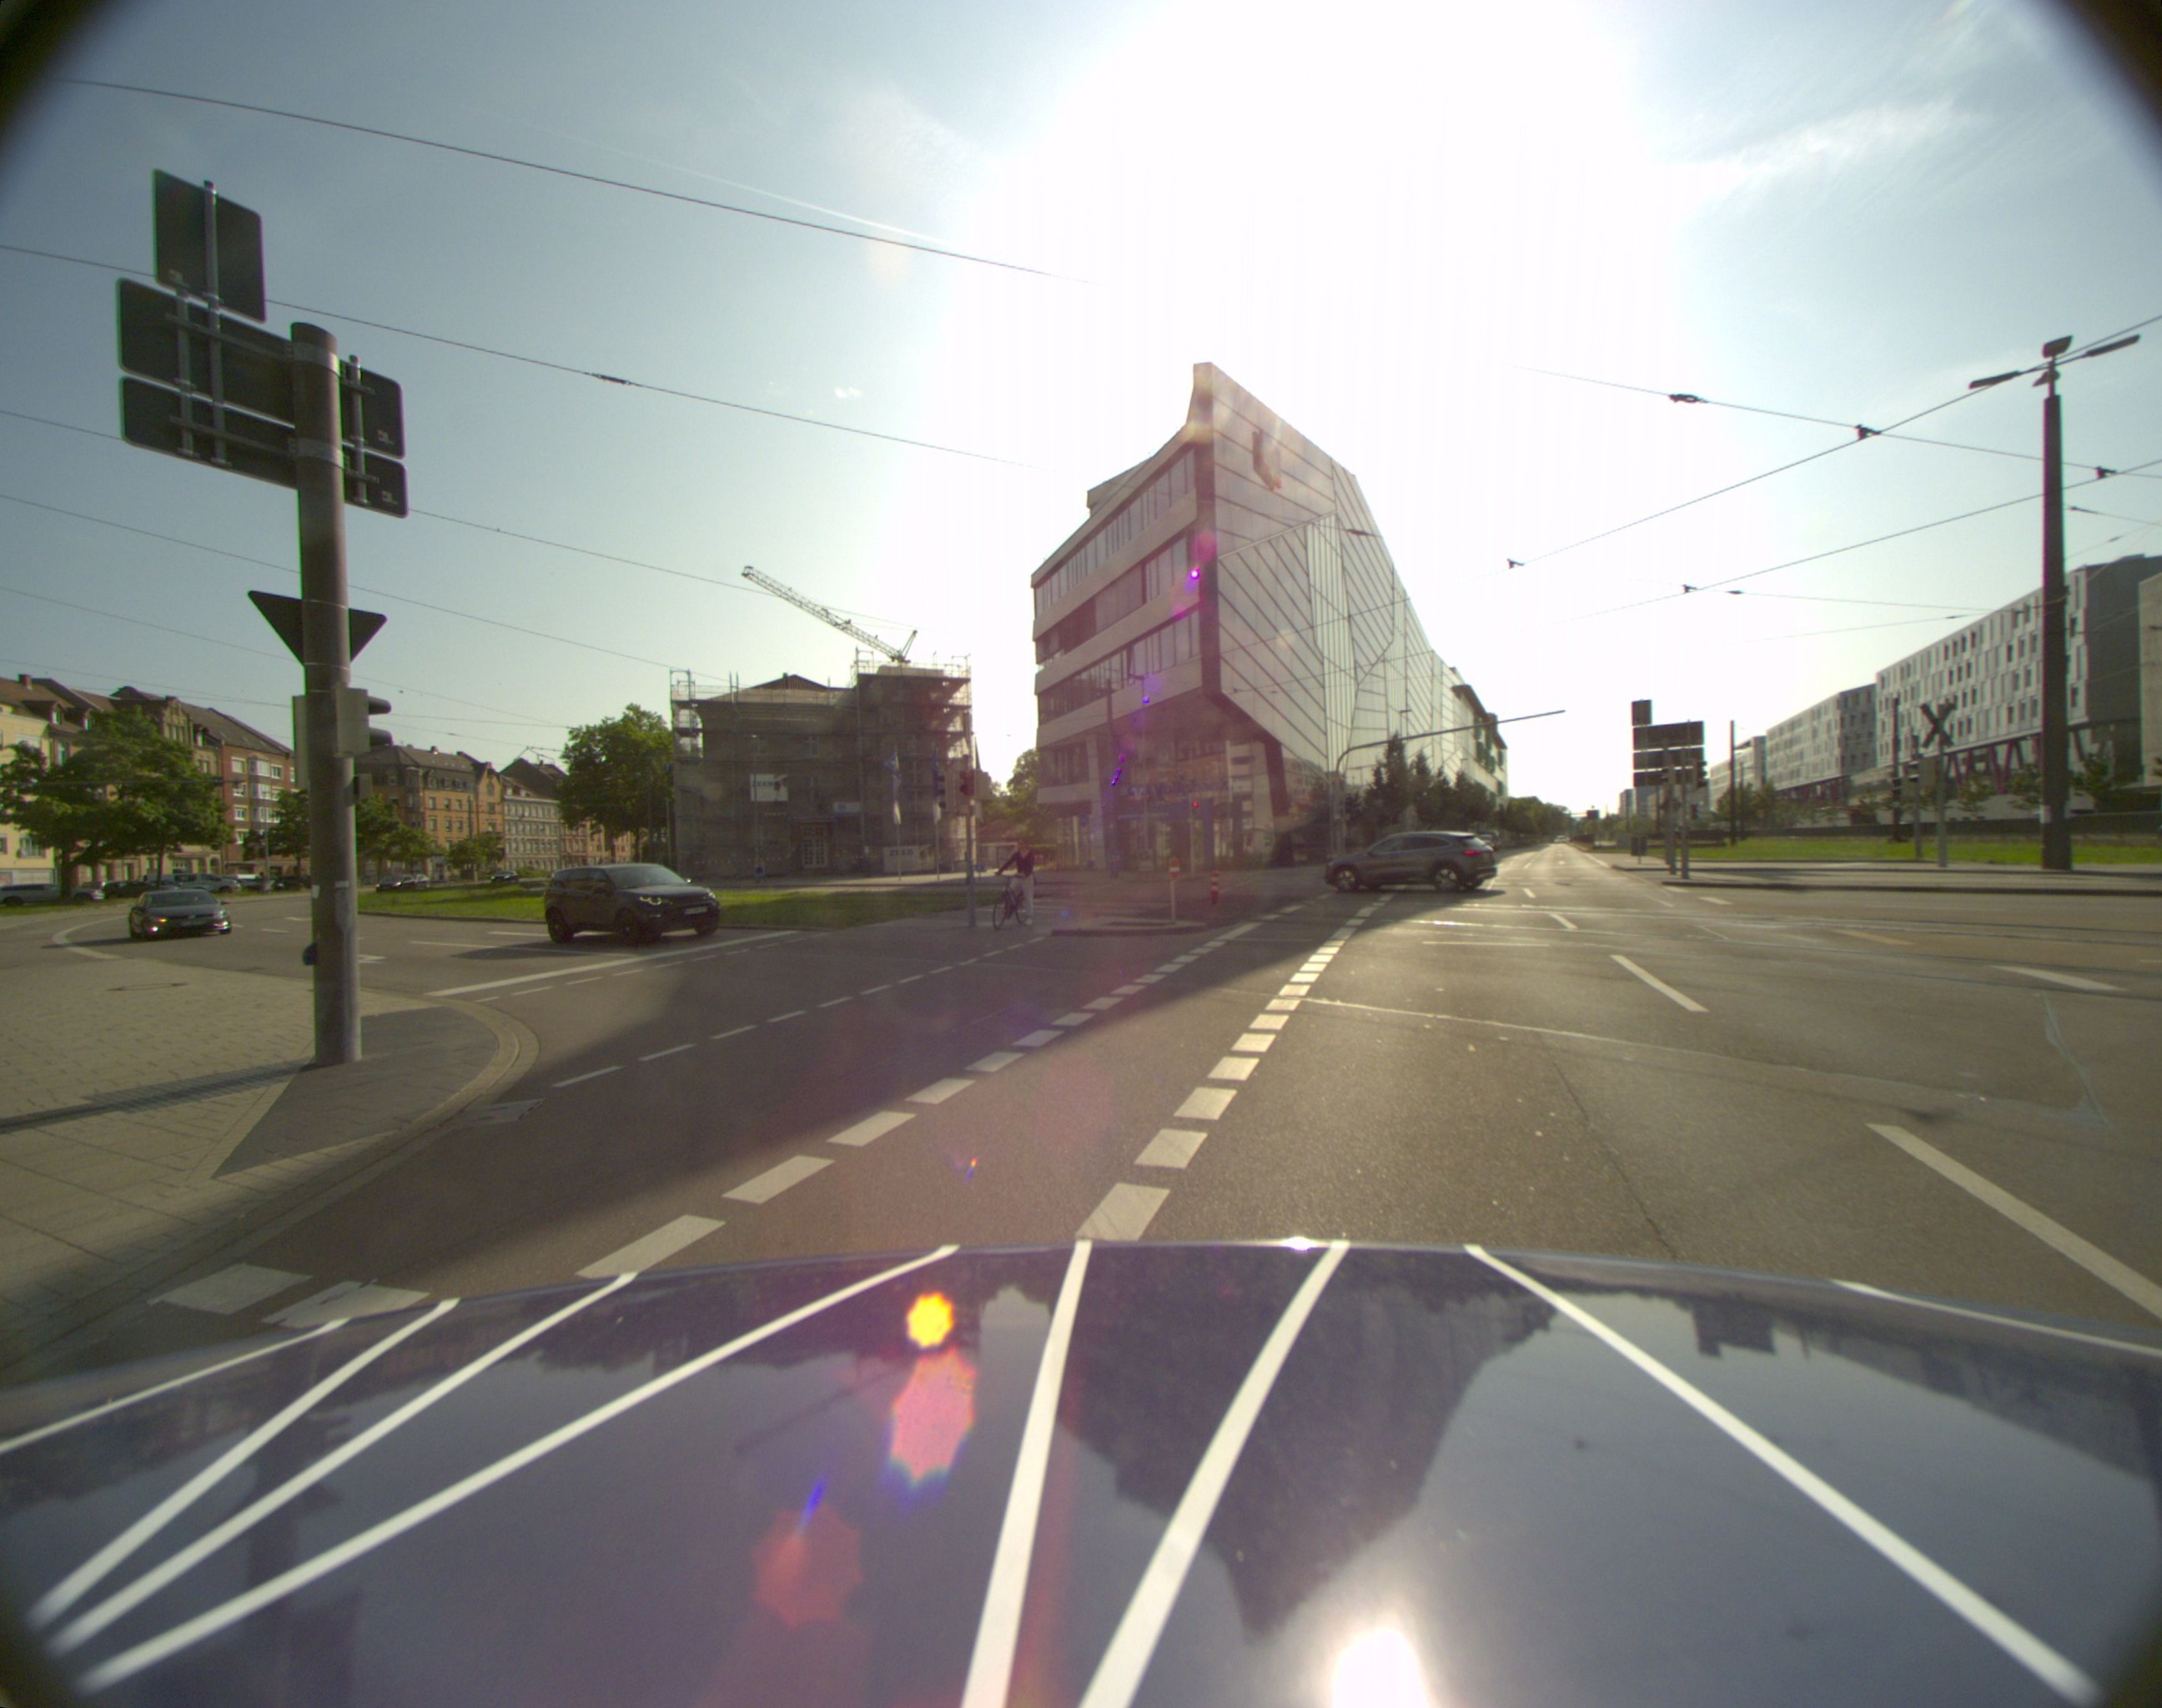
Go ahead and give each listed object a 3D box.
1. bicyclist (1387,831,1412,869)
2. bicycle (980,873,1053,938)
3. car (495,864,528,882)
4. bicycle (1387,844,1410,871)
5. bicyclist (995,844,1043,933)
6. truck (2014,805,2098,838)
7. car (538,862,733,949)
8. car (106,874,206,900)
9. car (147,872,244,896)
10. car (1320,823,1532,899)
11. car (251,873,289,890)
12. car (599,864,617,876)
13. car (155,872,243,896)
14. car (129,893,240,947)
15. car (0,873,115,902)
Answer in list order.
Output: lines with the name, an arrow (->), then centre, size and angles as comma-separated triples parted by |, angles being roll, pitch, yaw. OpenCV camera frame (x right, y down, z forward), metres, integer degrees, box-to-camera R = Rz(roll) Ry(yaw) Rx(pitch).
bicyclist -> 13.935, -0.177, 33.232 | 0.781, 1.577, 0.934 | 0, 3, 38
bicycle -> -1.247, 0.983, 15.024 | 0.668, 1.092, 1.807 | -1, 2, 21
car -> -67.111, 2.235, 89.570 | 2.002, 2.002, 3.993 | -2, 1, -22
bicycle -> 13.933, 0.134, 33.272 | 0.418, 1.050, 1.963 | 0, 3, 38
bicyclist -> -1.225, 0.669, 15.101 | 0.668, 1.693, 0.638 | -1, 3, 21
truck -> 74.570, -2.451, 58.200 | 2.202, 2.308, 4.559 | -2, 1, 27
car -> -9.744, 1.055, 16.557 | 4.210, 1.668, 1.806 | -2, 0, 30
car -> -69.809, 2.438, 57.445 | 1.717, 1.754, 4.749 | -1, -1, 41
car -> -73.581, 2.429, 63.234 | 1.717, 1.827, 4.936 | -1, -1, 29
car -> 9.209, 0.153, 20.595 | 1.959, 1.773, 4.801 | -4, 3, -43
car -> -87.693, 2.980, 82.191 | 1.330, 1.722, 2.782 | -2, 1, -12
car -> -81.559, 2.749, 131.022 | 2.002, 1.968, 3.991 | -3, 2, -24
car -> -71.550, 2.434, 61.720 | 1.717, 1.754, 4.429 | -1, -1, 33
car -> -27.532, 1.966, 23.319 | 3.884, 1.411, 1.647 | -1, 1, 33
car -> -68.489, 2.201, 50.805 | 1.717, 1.754, 4.749 | -1, -1, 41
